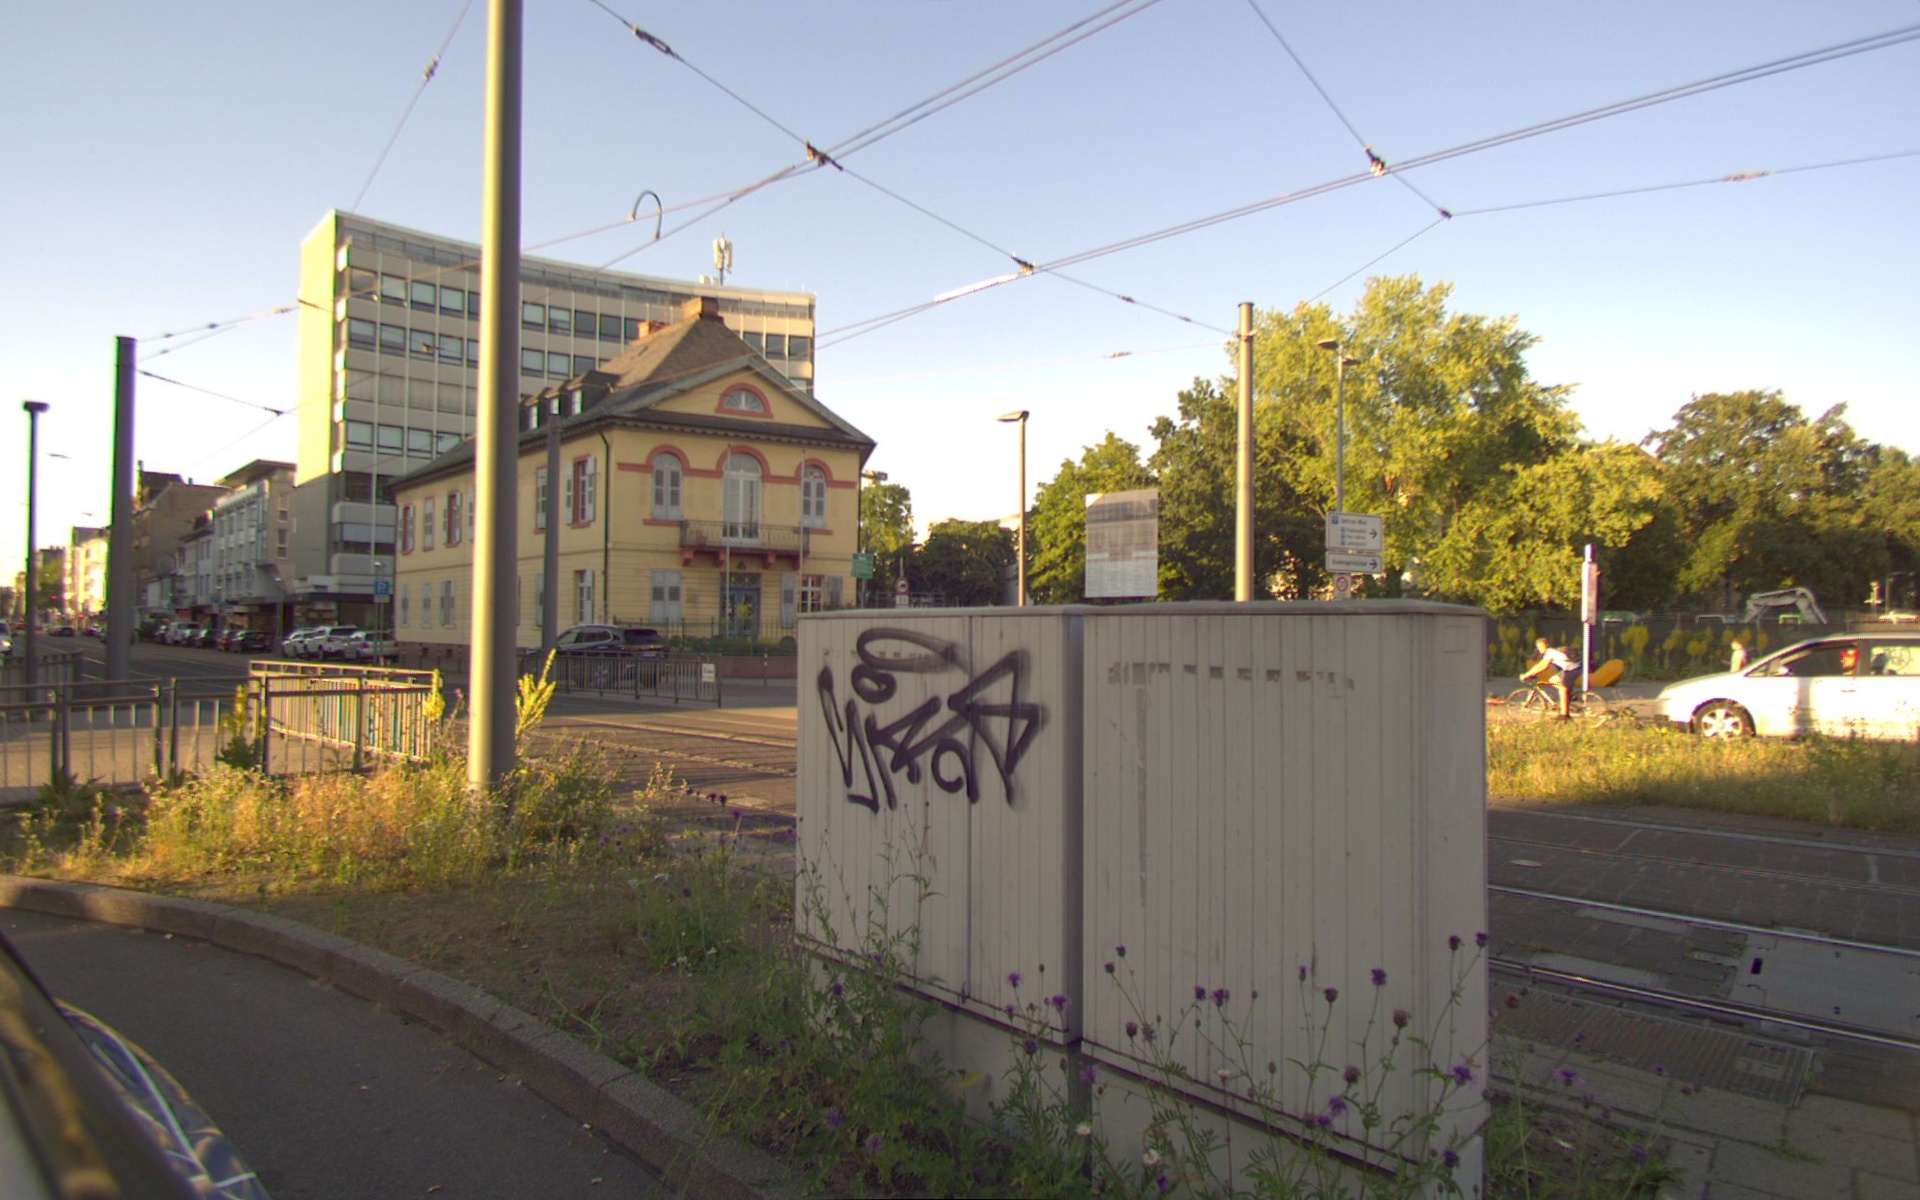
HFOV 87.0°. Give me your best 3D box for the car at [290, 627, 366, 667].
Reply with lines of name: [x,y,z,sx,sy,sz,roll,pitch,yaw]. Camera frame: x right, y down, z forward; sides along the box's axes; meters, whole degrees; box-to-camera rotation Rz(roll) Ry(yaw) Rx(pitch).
car: [-31.083,2.273,49.726,4.493,1.799,1.794,-2,0,40]

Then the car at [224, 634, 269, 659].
car: [-45.124,2.892,63.981,1.666,1.523,4.217,2,-3,-44]

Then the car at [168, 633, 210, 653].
car: [-60.349,3.363,79.168,4.560,1.477,1.971,-2,-2,44]

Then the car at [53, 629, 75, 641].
car: [-119.416,4.654,134.876,1.970,1.564,4.003,2,-3,-44]

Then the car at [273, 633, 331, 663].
car: [-35.351,2.567,54.327,1.791,1.523,4.436,3,-4,-43]

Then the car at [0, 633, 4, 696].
car: [-24.361,1.510,24.253,1.970,1.469,4.002,3,-3,-45]

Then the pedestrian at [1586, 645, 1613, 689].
pedestrian: [22.047,2.297,34.890,0.625,1.507,0.632,-2,-3,44]

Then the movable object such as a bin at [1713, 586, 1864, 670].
movable object such as a bin: [33.989,1.166,41.640,1.966,3.254,4.357,2,-3,-31]

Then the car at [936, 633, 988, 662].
car: [0.058,2.546,54.826,1.967,1.497,4.104,1,-2,-13]

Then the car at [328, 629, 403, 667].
car: [-27.175,2.158,46.197,4.214,1.629,1.792,-2,-3,43]

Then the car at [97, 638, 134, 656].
car: [-73.077,4.087,87.544,4.032,1.523,1.717,-2,-3,40]

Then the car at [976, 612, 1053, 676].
car: [2.313,1.929,44.754,2.063,2.650,5.438,1,-2,-12]

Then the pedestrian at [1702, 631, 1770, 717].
pedestrian: [17.449,1.648,22.759,0.871,1.882,0.978,2,-3,-37]

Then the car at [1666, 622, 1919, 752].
car: [12.078,1.119,13.544,4.111,1.597,1.972,-2,-3,41]

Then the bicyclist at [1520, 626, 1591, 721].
bicyclist: [11.065,1.344,18.804,0.655,1.701,0.980,3,-3,-45]

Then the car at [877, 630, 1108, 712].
car: [0.710,1.456,21.627,4.555,1.597,1.986,-1,-3,22]

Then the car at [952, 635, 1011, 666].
car: [1.021,2.485,50.194,1.967,1.497,4.104,1,-2,-13]

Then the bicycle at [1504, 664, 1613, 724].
bicycle: [11.081,1.723,18.774,0.658,1.016,1.624,3,-3,-44]

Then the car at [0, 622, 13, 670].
car: [-38.980,1.807,40.037,4.001,1.830,1.971,-2,-3,44]

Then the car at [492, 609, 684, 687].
car: [-9.822,1.232,26.692,4.784,1.916,1.983,-1,-3,26]

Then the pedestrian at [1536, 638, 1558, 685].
pedestrian: [21.026,2.196,36.242,0.597,1.671,0.531,-1,-3,26]

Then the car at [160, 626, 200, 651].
car: [-65.421,3.215,84.857,5.164,1.992,1.933,-2,-4,44]

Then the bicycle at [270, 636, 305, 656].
bicycle: [-48.616,3.350,73.187,0.834,1.436,1.946,-2,-4,43]

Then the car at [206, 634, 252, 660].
car: [-48.867,3.146,67.620,1.666,1.523,4.217,12,-10,-43]

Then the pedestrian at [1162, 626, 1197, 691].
pedestrian: [6.579,1.736,30.310,0.717,1.907,0.768,1,-3,-21]

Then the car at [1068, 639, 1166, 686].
car: [5.308,2.107,34.721,1.967,1.497,4.010,1,-2,-13]

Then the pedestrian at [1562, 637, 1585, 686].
pedestrian: [21.363,2.144,35.245,0.599,1.671,0.529,-2,-3,37]

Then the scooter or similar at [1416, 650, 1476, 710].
scooter or similar: [11.996,1.973,24.986,1.236,1.457,0.518,1,-3,-8]

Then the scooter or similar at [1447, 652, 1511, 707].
scooter or similar: [12.459,1.909,24.311,1.240,1.282,0.516,0,-2,6]

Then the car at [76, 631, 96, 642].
car: [-127.400,5.360,147.509,1.971,1.564,4.002,2,-3,-45]

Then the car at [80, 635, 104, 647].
car: [-113.250,5.346,132.018,1.971,1.564,4.208,3,-3,-45]
